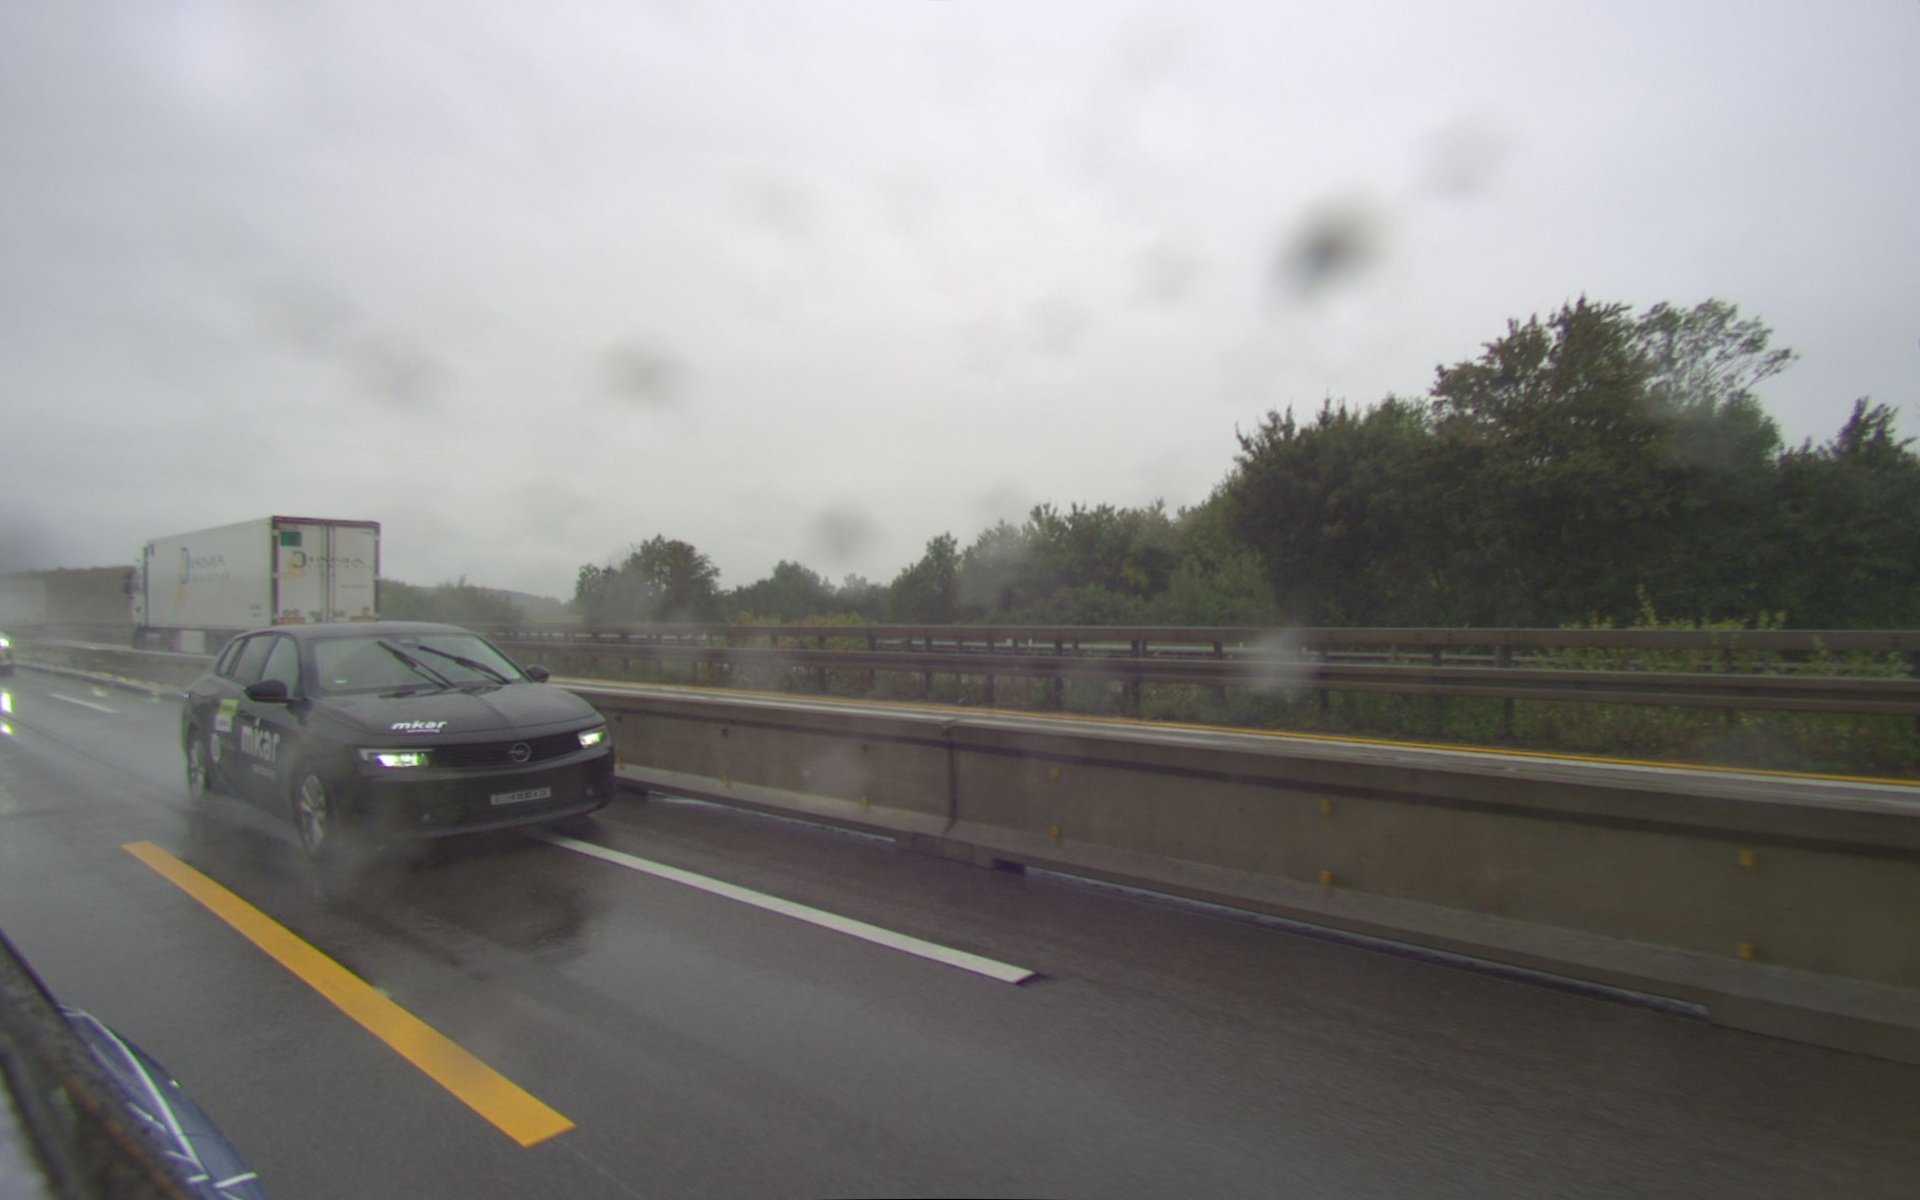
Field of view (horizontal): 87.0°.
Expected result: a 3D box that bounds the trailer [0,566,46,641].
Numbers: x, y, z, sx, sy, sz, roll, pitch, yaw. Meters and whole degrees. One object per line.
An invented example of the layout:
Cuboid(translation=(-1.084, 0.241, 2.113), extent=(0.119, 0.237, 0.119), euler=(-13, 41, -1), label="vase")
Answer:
Cuboid(translation=(-61.465, 0.205, 65.124), extent=(11.188, 4.476, 2.459), euler=(0, 0, 40), label="trailer")

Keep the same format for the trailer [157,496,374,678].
Cuboid(translation=(-21.368, -0.344, 30.655), extent=(12.004, 4.624, 2.521), euler=(0, 0, 41), label="trailer")

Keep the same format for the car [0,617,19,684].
Cuboid(translation=(-26.744, 1.334, 26.953), extent=(3.996, 1.693, 1.947), euler=(0, 0, 39), label="car")

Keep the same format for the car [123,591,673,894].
Cuboid(translation=(-4.330, 0.771, 7.431), extent=(4.791, 1.539, 1.919), euler=(-1, -1, 39), label="car")

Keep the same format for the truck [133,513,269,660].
Cuboid(translation=(-26.383, -0.439, 35.073), extent=(6.449, 4.638, 2.533), euler=(0, 0, 41), label="truck")
